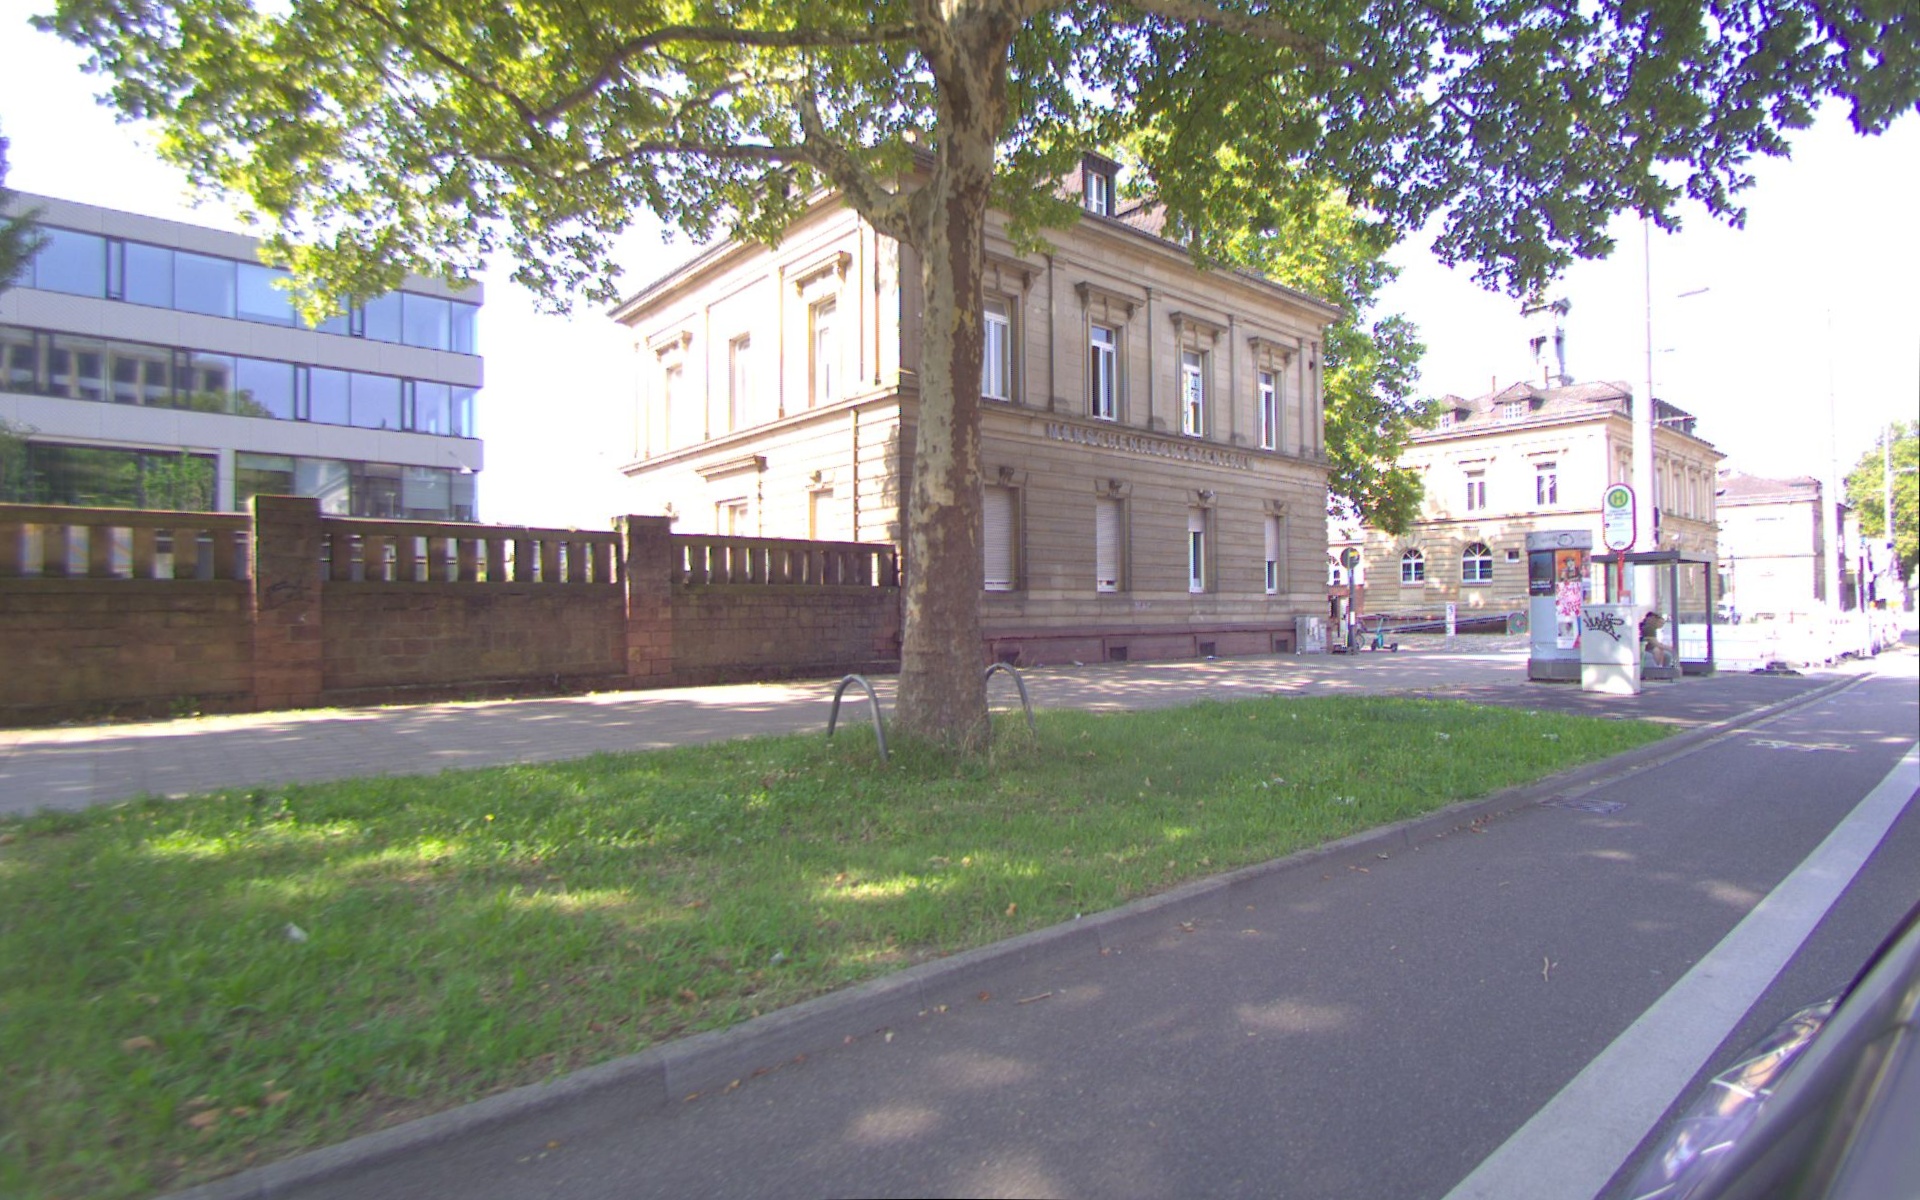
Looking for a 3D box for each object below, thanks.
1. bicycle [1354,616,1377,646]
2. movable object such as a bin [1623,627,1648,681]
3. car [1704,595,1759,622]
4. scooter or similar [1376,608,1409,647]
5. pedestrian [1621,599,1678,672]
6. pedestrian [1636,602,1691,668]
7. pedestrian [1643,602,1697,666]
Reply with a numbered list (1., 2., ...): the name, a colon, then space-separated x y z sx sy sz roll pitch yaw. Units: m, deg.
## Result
1. bicycle: 13.904 1.074 34.705 0.488 1.013 1.798 -1 -3 30
2. movable object such as a bin: 11.766 0.940 17.639 0.379 0.927 0.271 1 -2 -43
3. car: 57.337 0.654 75.177 4.140 1.806 1.911 3 -2 -32
4. scooter or similar: 14.157 0.899 33.126 1.150 1.244 0.427 0 -1 -34
5. pedestrian: 13.522 0.694 19.843 0.601 1.383 0.751 -1 -2 -41
6. pedestrian: 14.057 0.704 20.228 0.601 1.277 0.742 -1 -2 -41
7. pedestrian: 14.574 0.693 20.774 0.601 1.277 0.742 -1 -2 -41
